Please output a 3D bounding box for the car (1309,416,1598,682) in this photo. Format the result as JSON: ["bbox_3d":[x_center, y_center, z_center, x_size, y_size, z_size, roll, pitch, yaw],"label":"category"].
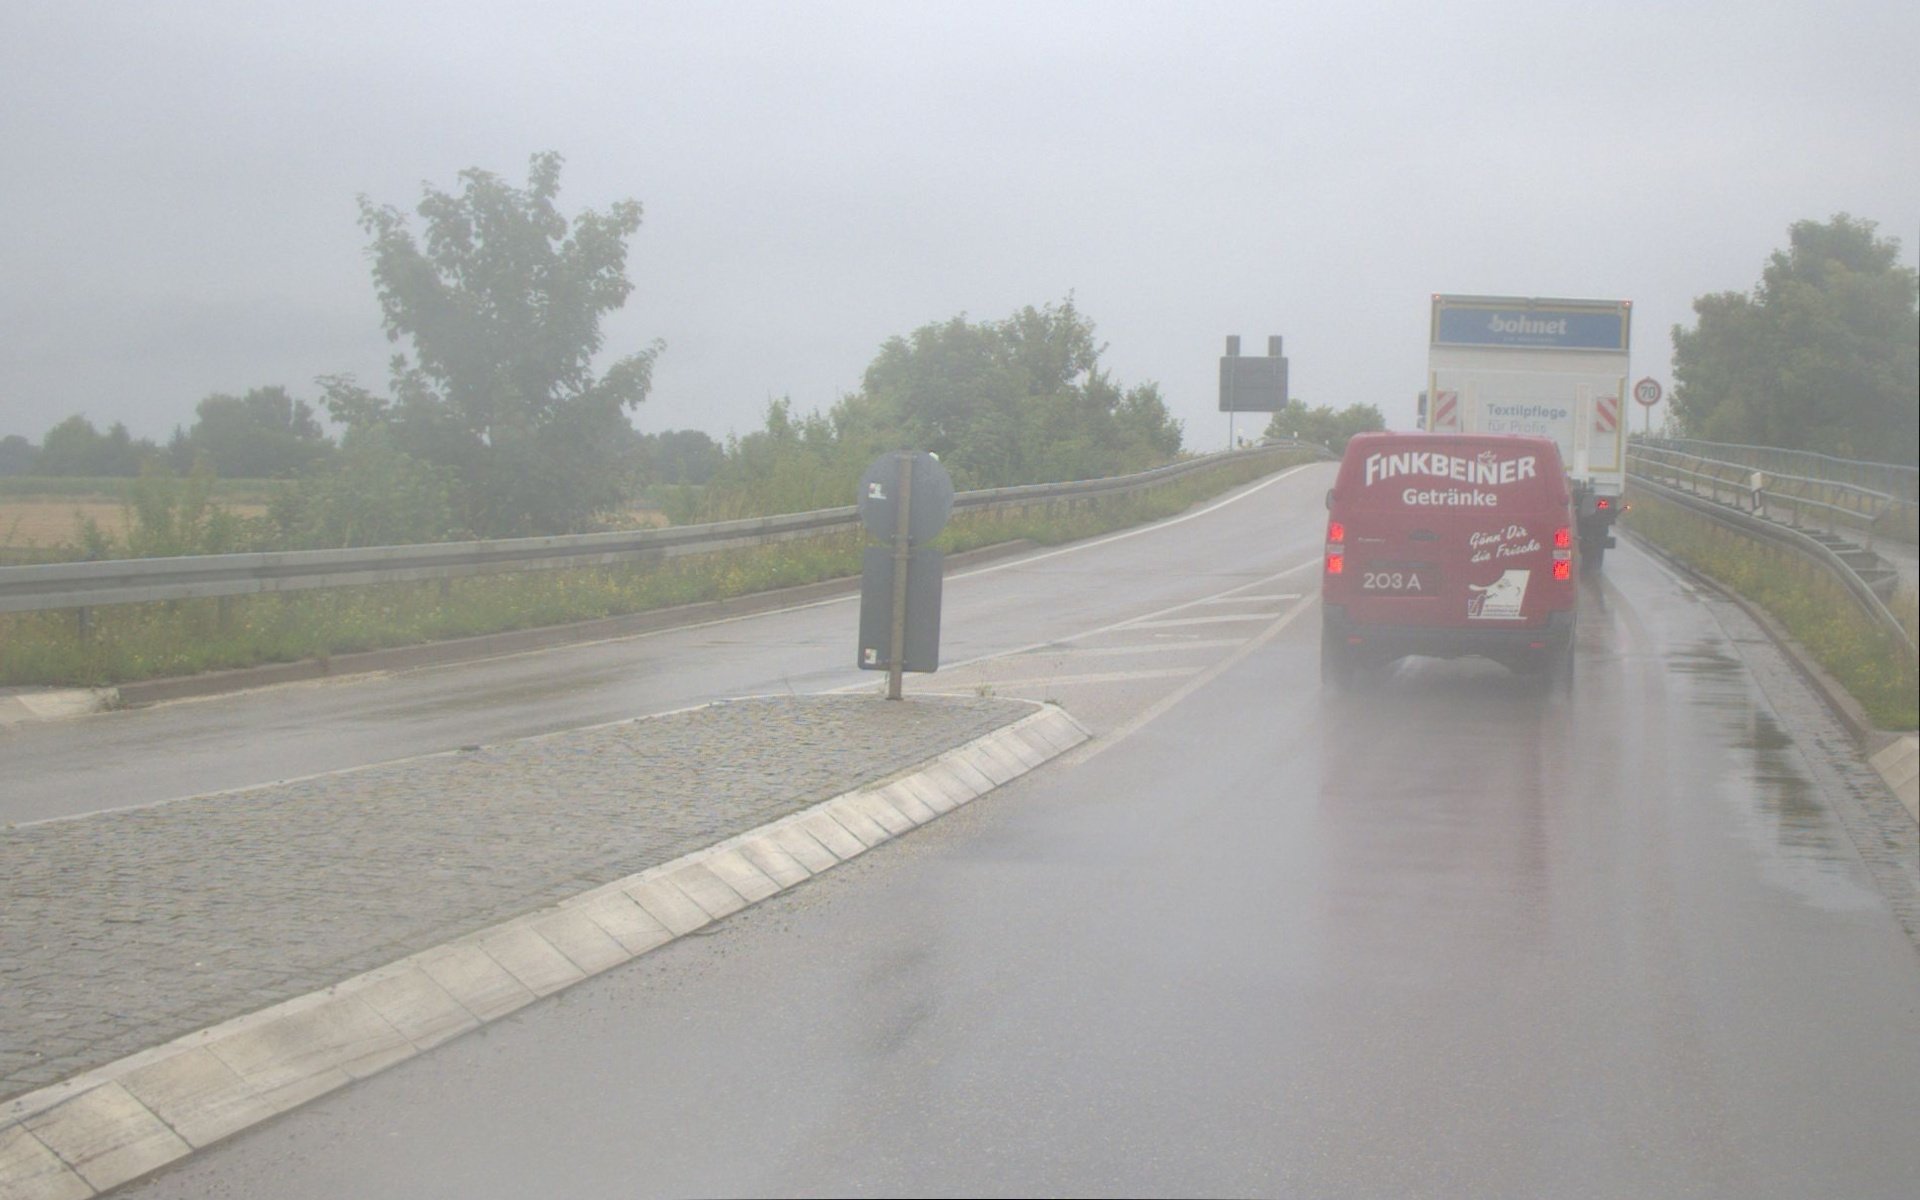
[{"bbox_3d":[3.946,-0.490,26.856,1.994,1.864,4.977,1,3,11],"label":"car"}]

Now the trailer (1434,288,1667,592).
[{"bbox_3d":[8.279,-2.227,48.358,2.833,3.805,9.712,1,2,10],"label":"trailer"}]
